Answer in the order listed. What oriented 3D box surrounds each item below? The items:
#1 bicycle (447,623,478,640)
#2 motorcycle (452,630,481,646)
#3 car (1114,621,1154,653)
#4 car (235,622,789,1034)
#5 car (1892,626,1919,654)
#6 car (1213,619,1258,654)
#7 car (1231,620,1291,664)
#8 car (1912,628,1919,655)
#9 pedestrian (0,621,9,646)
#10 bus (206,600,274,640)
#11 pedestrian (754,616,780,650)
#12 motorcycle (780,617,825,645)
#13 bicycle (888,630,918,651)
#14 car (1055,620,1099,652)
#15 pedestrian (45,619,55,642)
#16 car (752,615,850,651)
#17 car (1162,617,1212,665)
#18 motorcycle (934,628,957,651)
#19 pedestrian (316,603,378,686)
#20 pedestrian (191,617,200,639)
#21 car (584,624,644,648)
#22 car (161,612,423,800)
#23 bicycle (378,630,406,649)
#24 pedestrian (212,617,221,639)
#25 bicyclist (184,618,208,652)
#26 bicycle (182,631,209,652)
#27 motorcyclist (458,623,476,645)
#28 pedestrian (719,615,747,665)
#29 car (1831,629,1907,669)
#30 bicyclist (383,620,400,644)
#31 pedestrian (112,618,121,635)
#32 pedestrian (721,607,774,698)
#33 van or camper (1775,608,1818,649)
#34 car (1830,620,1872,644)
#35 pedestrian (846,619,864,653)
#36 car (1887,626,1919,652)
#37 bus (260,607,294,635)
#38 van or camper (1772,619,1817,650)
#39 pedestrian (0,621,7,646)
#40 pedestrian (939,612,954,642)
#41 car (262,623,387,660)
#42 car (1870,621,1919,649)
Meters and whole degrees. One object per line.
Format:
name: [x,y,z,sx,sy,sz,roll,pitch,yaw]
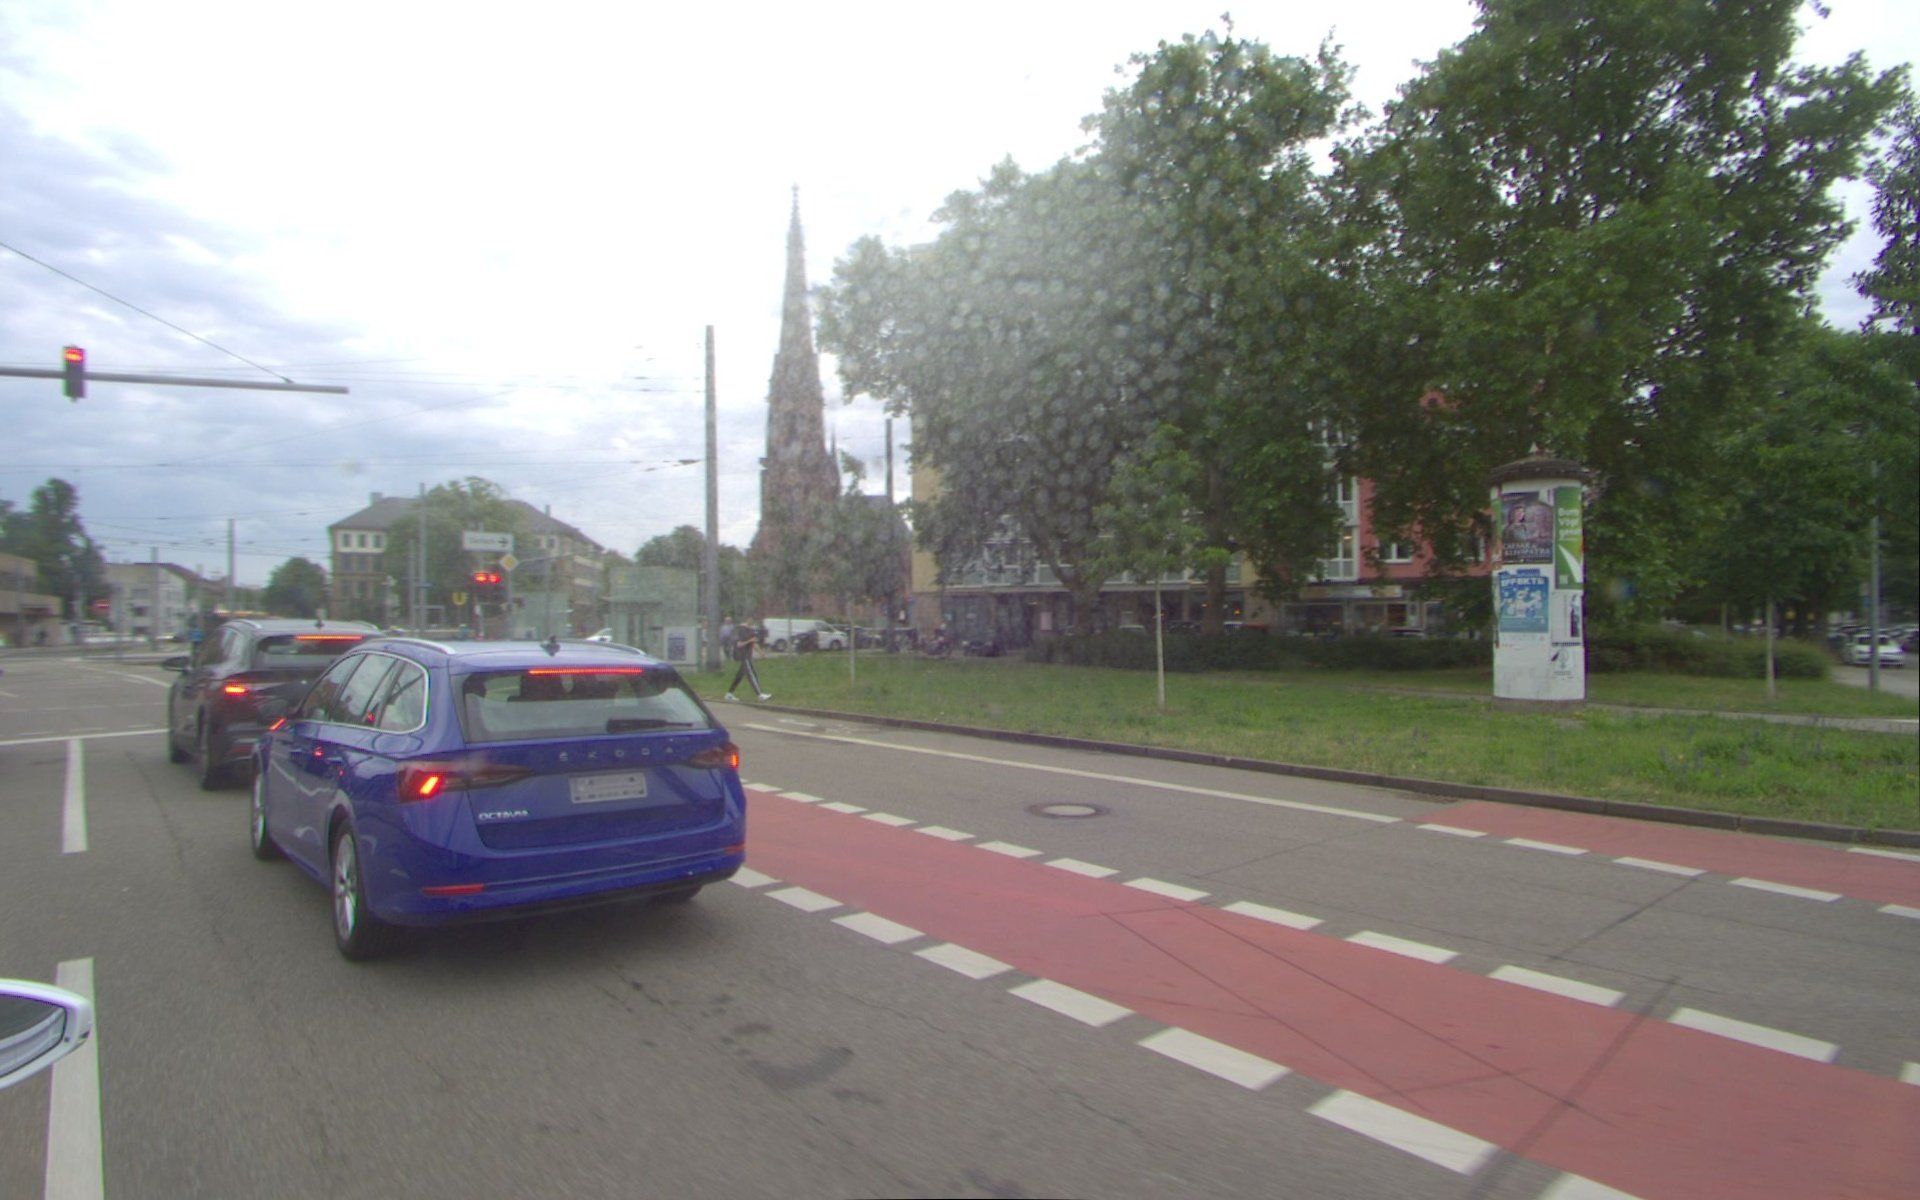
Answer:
bicycle: [-42.109,2.671,84.734,2.240,1.348,0.702,0,-2,-36]
motorcycle: [-37.494,2.903,76.073,0.730,1.154,2.139,0,-1,15]
car: [8.608,1.788,49.278,1.826,1.509,4.474,0,-1,12]
car: [-2.954,0.905,5.946,1.767,1.507,4.426,0,-2,-42]
car: [61.030,2.511,63.553,1.835,1.644,4.453,-2,-2,32]
car: [13.281,1.739,48.489,1.826,1.568,4.474,0,-1,12]
car: [11.511,1.580,38.591,1.826,1.568,4.474,0,-1,12]
car: [58.378,2.488,59.396,1.835,1.644,4.453,-2,-2,32]
pedestrian: [-73.145,2.563,76.479,0.701,1.943,0.619,0,0,-35]
bus: [-59.840,1.676,83.489,2.926,3.164,11.488,0,-1,-27]
pedestrian: [-10.539,1.819,54.593,1.068,1.820,0.946,-1,-1,16]
motorcycle: [-6.977,1.359,44.437,0.755,1.183,2.378,0,-1,27]
bicycle: [-2.635,1.872,46.461,1.242,0.929,0.594,0,-1,18]
car: [5.879,1.782,49.991,1.826,1.509,4.474,0,-1,12]
pedestrian: [-77.705,2.582,85.506,0.616,1.943,0.705,0,0,-39]
car: [-9.863,2.038,62.093,5.647,2.039,2.021,0,-2,-25]
car: [8.822,1.567,39.136,1.826,1.744,4.474,0,-1,12]
motorcycle: [-0.638,1.779,45.006,0.857,1.010,1.014,0,-1,12]
pedestrian: [-14.517,1.051,23.721,0.721,1.931,1.105,0,-1,5]
pedestrian: [-68.534,2.521,89.771,0.615,1.943,0.694,0,0,-33]
car: [-22.716,2.373,65.940,1.743,1.482,3.996,-2,-2,17]
car: [-7.404,0.962,10.892,1.765,1.617,4.469,1,-1,-42]
bicycle: [-40.904,2.864,72.159,0.635,1.339,1.730,0,-1,26]
pedestrian: [-67.652,2.559,91.111,0.615,1.943,0.694,0,0,-33]
bicyclist: [-42.801,1.930,56.093,1.036,1.875,0.867,0,-1,42]
bicycle: [-42.891,2.318,56.149,2.277,1.119,0.861,-1,-1,43]
motorcyclist: [-37.486,2.601,76.104,0.736,1.671,0.979,-1,-1,15]
pedestrian: [-8.923,1.557,39.318,0.872,1.955,1.017,0,-1,-1]
car: [40.470,2.142,44.667,1.835,1.568,4.450,1,0,34]
bicyclist: [-40.931,2.294,72.119,0.644,1.695,0.854,0,0,27]
pedestrian: [-95.489,3.033,113.360,0.612,1.942,0.709,-1,-1,-17]
pedestrian: [-4.417,1.081,20.809,0.967,1.868,0.537,0,0,4]
van or camper: [59.255,1.982,70.996,1.973,2.808,3.976,0,-1,35]
car: [80.339,2.873,90.372,1.995,2.011,4.759,-2,-2,32]
pedestrian: [-5.242,1.780,49.964,0.626,1.659,0.871,0,-1,15]
car: [65.412,2.644,68.666,1.835,1.644,4.453,-2,-2,32]
bus: [-82.408,2.545,120.913,2.625,3.326,10.936,0,-1,-31]
van or camper: [55.684,2.267,66.895,1.973,2.040,3.976,-1,-1,35]
pedestrian: [-72.712,2.531,75.805,0.701,1.943,0.619,0,0,-35]
pedestrian: [-0.749,1.492,55.684,0.626,1.659,0.786,0,-1,14]
car: [-26.084,1.670,41.287,1.667,1.414,4.389,0,-1,14]
car: [68.622,2.555,73.532,1.835,2.011,4.453,-2,-2,32]
